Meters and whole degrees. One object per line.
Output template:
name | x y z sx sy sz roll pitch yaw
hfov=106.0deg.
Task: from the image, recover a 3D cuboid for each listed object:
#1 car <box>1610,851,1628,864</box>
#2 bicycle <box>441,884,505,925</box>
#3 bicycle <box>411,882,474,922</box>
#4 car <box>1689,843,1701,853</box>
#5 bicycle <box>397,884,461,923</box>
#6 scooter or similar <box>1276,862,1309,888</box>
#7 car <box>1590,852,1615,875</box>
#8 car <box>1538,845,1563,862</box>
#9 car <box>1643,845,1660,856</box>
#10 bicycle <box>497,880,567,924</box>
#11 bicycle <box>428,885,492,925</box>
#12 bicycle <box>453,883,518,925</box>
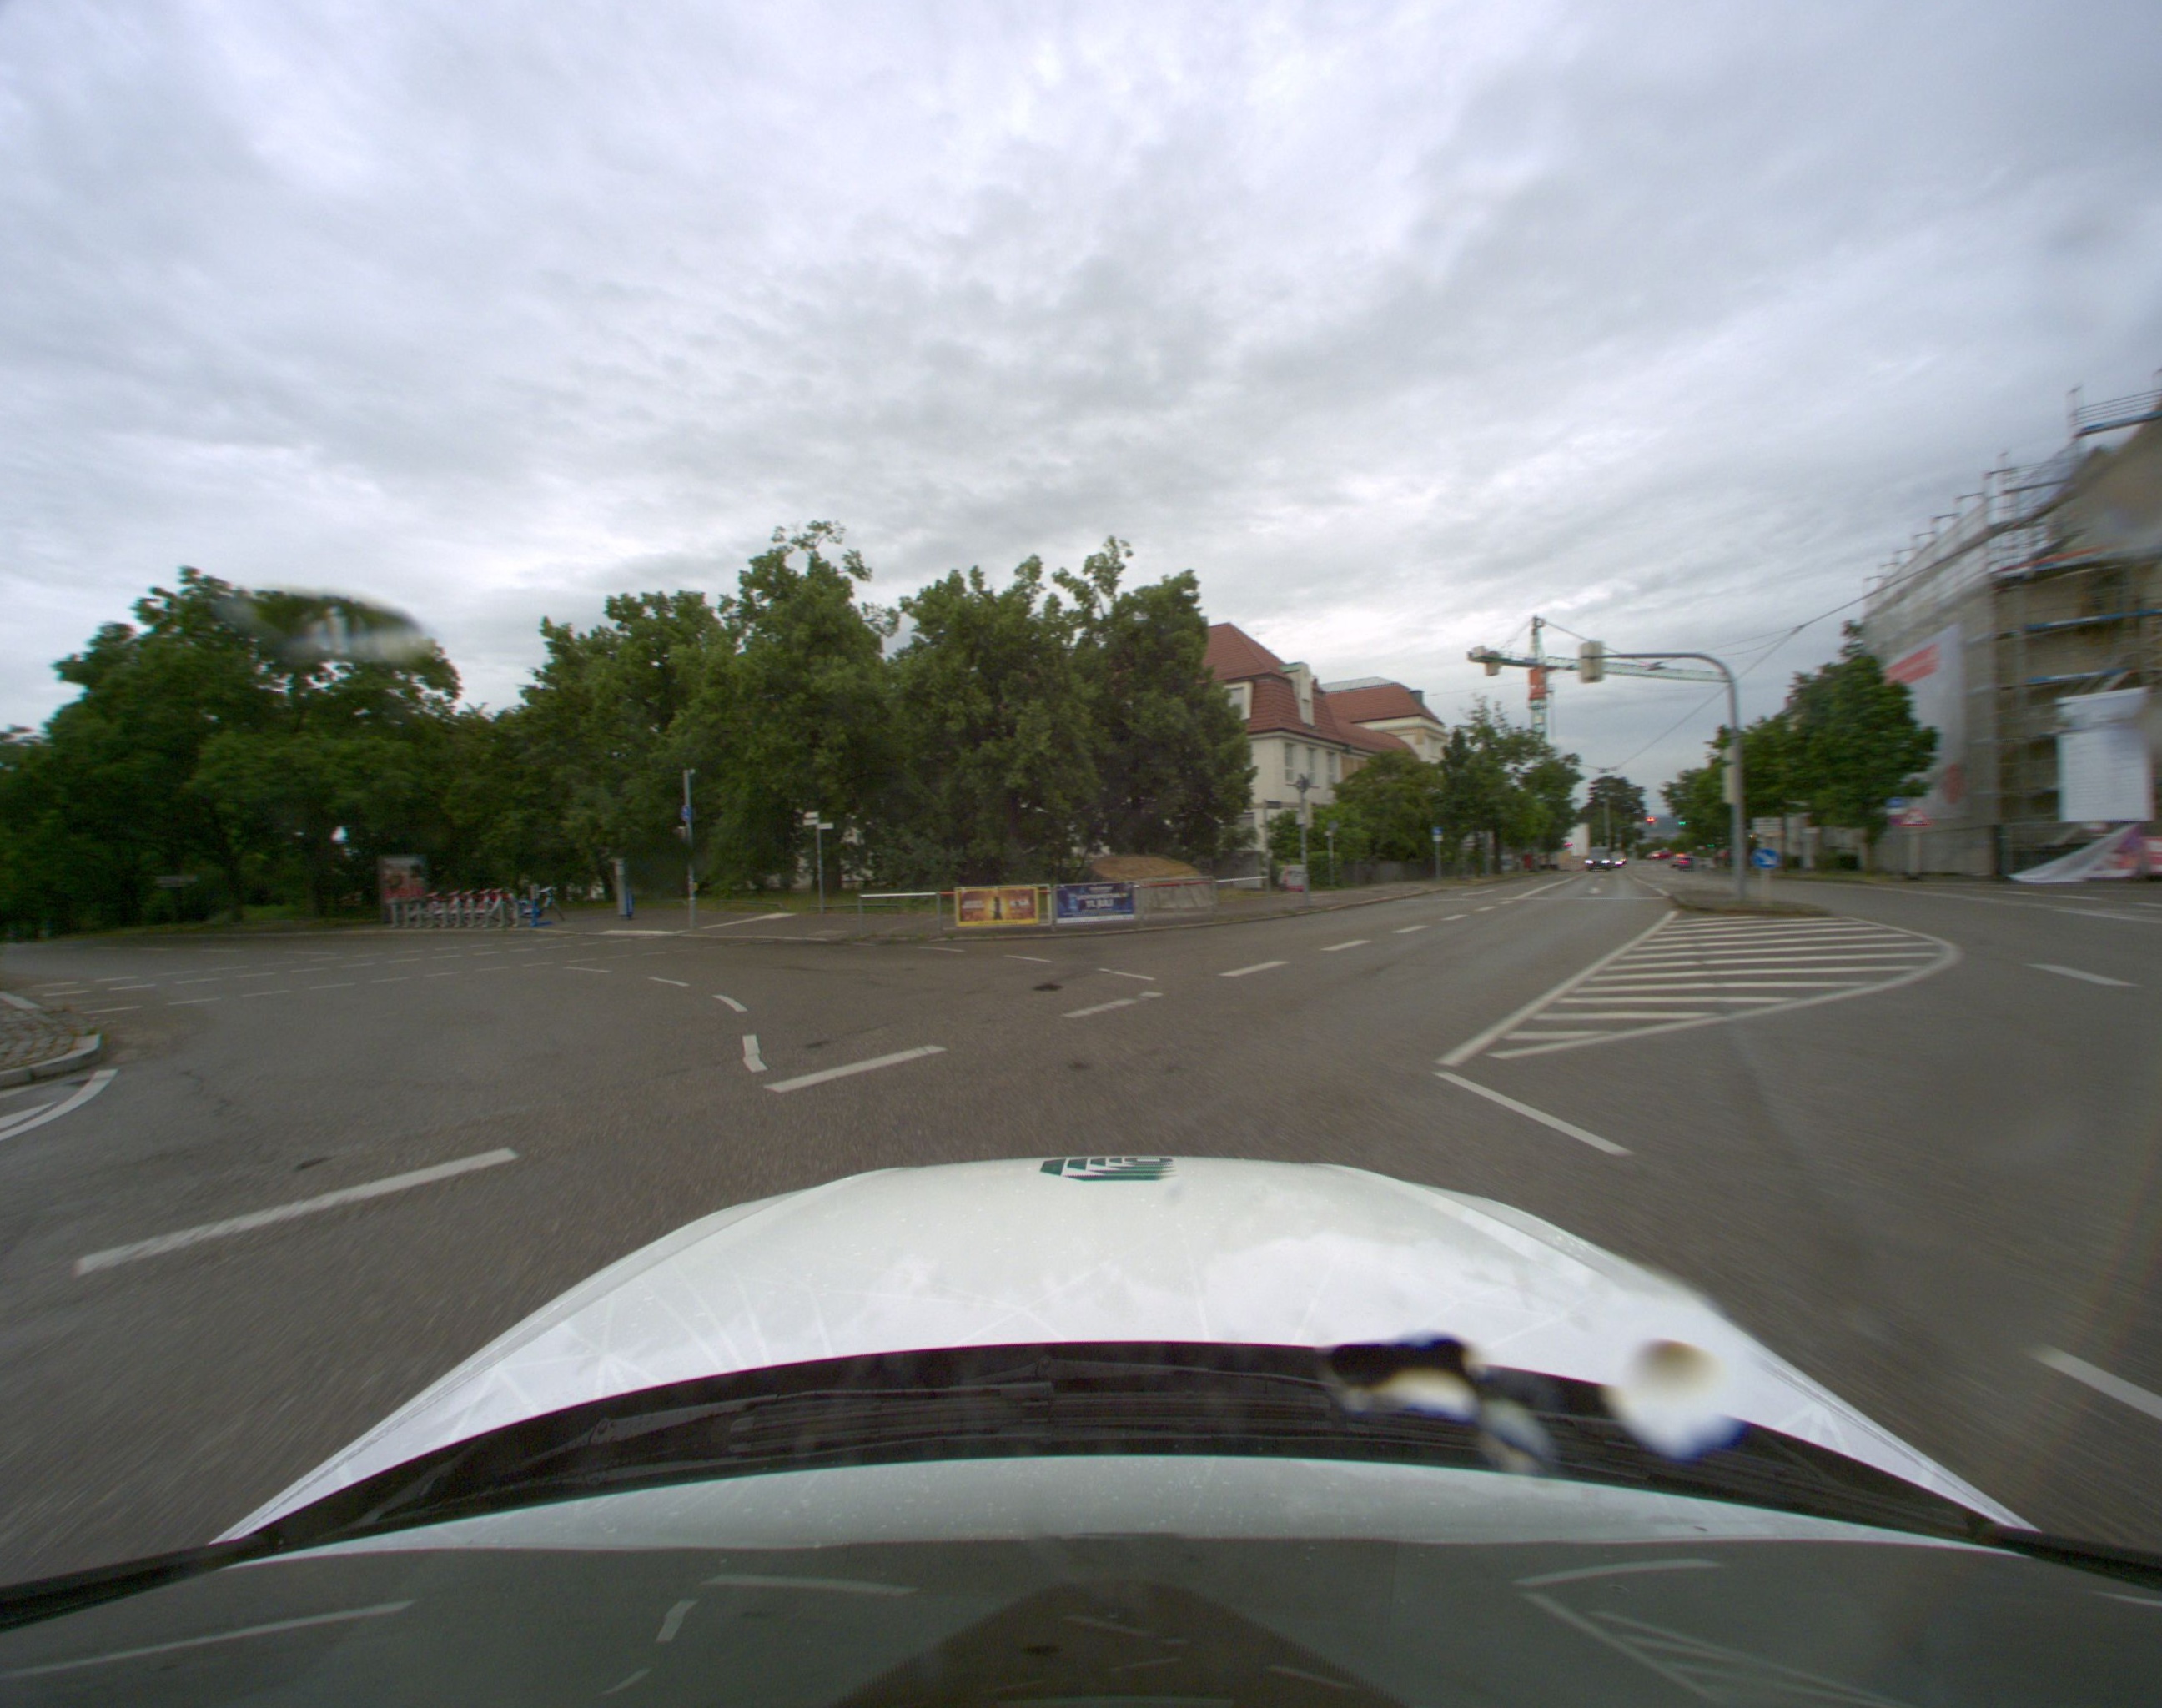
car | 65.807 0.380 99.594 1.560 1.460 3.560 -1 1 39
bicycle | -19.909 1.644 26.708 0.550 1.131 1.499 -4 3 26
bicycle | -21.635 1.617 27.635 0.550 1.131 1.499 -4 3 26
car | 129.781 -1.211 172.118 1.974 2.013 4.026 -1 0 36
bicycle | -22.438 1.707 28.053 0.550 1.131 1.499 -4 3 26
scooter or similar | 7.914 0.789 30.473 1.088 0.954 0.535 0 -1 -17
car | 55.412 1.001 86.484 1.817 2.211 4.026 -1 1 39
car | 58.082 -0.072 100.735 1.974 2.013 4.026 -1 1 39
car | 85.713 -0.496 122.297 1.759 1.578 3.896 -1 1 39
bicycle | -16.878 1.467 25.085 0.550 1.131 1.611 -4 3 26
bicycle | -20.645 1.679 27.085 0.550 1.131 1.499 -4 3 26
bicycle | -19.215 1.606 26.308 0.550 1.131 1.499 -4 3 26
